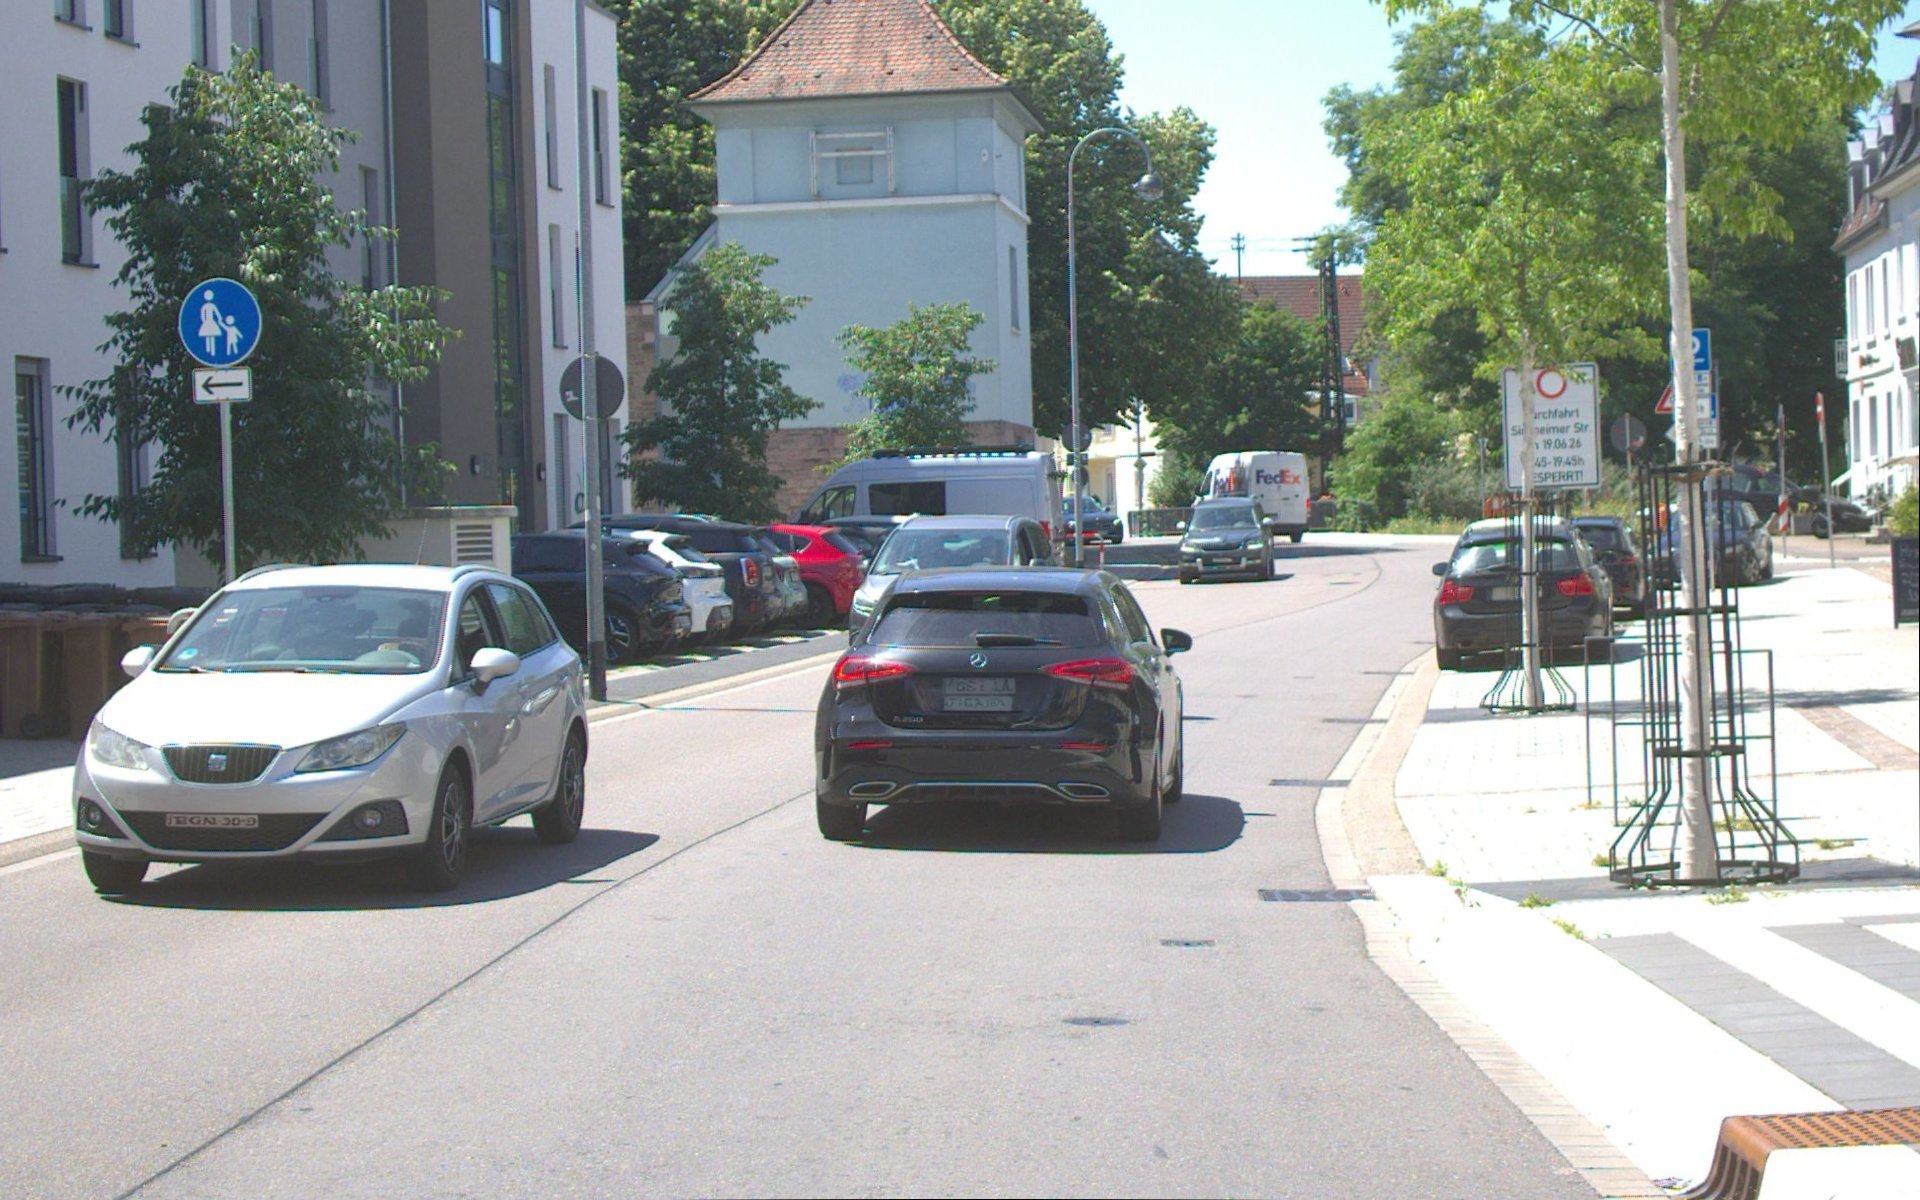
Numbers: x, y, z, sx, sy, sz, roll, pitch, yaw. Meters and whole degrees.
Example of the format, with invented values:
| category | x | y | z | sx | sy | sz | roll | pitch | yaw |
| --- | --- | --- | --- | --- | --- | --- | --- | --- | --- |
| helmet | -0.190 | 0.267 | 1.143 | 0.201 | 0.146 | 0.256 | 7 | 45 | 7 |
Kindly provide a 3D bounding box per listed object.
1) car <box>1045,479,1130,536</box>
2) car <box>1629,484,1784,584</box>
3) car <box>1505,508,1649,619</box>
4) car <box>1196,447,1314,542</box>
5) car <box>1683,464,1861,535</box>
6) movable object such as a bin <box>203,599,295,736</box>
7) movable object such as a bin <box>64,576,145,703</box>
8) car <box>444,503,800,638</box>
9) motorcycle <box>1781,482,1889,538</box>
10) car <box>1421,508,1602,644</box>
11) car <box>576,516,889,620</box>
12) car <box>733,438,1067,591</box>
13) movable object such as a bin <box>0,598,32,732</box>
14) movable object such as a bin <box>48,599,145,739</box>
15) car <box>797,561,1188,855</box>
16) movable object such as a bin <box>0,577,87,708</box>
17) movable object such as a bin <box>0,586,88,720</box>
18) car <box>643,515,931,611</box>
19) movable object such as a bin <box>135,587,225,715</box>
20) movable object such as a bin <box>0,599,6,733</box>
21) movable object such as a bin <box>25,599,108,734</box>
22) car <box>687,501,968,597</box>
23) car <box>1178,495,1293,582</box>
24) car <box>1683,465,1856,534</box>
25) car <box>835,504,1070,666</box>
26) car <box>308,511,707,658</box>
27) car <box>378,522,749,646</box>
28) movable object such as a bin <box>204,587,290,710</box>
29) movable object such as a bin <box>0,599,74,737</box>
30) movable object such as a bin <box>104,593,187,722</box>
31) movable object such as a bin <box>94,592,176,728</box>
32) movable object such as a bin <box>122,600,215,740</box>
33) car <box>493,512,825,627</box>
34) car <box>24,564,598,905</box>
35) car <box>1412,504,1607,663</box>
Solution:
| category | x | y | z | sx | sy | sz | roll | pitch | yaw |
| --- | --- | --- | --- | --- | --- | --- | --- | --- | --- |
| car | 3.859 | -2.830 | 104.721 | 1.893 | 1.548 | 4.800 | -2 | 3 | -6 |
| car | 12.886 | -1.158 | 59.171 | 1.874 | 1.486 | 3.858 | -2 | 3 | 23 |
| car | 8.765 | -0.548 | 48.570 | 1.725 | 1.400 | 4.606 | -2 | 1 | 13 |
| car | 8.467 | -3.015 | 99.095 | 2.127 | 2.620 | 5.279 | -1 | 1 | -9 |
| car | 19.948 | -2.462 | 84.595 | 4.076 | 1.710 | 1.856 | 0 | 1 | 8 |
| movable object such as a bin | -5.336 | 0.499 | 25.829 | 0.483 | 0.994 | 0.588 | -1 | 1 | 8 |
| movable object such as a bin | -7.182 | 0.324 | 28.874 | 0.575 | 1.035 | 0.550 | -1 | 1 | -8 |
| car | -4.215 | -0.391 | 43.169 | 4.034 | 1.645 | 1.999 | 0 | 1 | 11 |
| motorcycle | 20.548 | -2.106 | 80.757 | 2.377 | 1.271 | 0.856 | -1 | 2 | 9 |
| car | 6.815 | -0.330 | 42.205 | 1.738 | 1.481 | 4.052 | -4 | 1 | 15 |
| car | -3.185 | -0.468 | 48.538 | 4.034 | 1.425 | 1.999 | 0 | 1 | 11 |
| car | -1.069 | -1.562 | 62.844 | 5.770 | 2.723 | 2.291 | 0 | 1 | 10 |
| movable object such as a bin | -7.343 | 0.491 | 26.040 | 0.403 | 0.994 | 0.556 | -1 | 1 | 8 |
| movable object such as a bin | -6.357 | 0.503 | 25.320 | 0.483 | 0.994 | 0.588 | -1 | 1 | 8 |
| car | 0.287 | 0.511 | 19.060 | 1.828 | 1.437 | 3.999 | 1 | 1 | 5 |
| movable object such as a bin | -7.549 | 0.342 | 28.178 | 0.675 | 1.035 | 0.605 | -1 | 1 | -8 |
| movable object such as a bin | -7.330 | 0.419 | 27.454 | 0.619 | 1.035 | 0.583 | -1 | 1 | -8 |
| car | -2.625 | -0.577 | 52.798 | 4.200 | 1.432 | 1.886 | 0 | 1 | 5 |
| movable object such as a bin | -6.371 | 0.415 | 28.101 | 0.554 | 1.016 | 0.560 | -1 | 1 | 5 |
| movable object such as a bin | -7.408 | 0.498 | 25.455 | 0.483 | 0.994 | 0.526 | -1 | 1 | 5 |
| movable object such as a bin | -6.757 | 0.499 | 26.008 | 0.403 | 0.994 | 0.556 | -1 | 1 | 8 |
| car | -2.214 | -0.881 | 58.203 | 4.455 | 1.585 | 1.999 | 0 | 1 | 9 |
| car | 5.600 | -1.251 | 69.533 | 1.811 | 1.695 | 4.074 | 0 | 1 | 12 |
| car | 20.423 | -2.539 | 86.888 | 4.076 | 1.710 | 1.856 | 0 | 1 | 8 |
| car | -0.013 | -0.195 | 37.426 | 1.943 | 1.653 | 4.234 | 0 | 1 | 9 |
| car | -5.002 | -0.193 | 38.307 | 3.988 | 1.510 | 2.000 | 0 | 3 | 9 |
| car | -4.657 | -0.215 | 40.692 | 3.988 | 1.416 | 1.909 | 0 | 1 | 10 |
| movable object such as a bin | -5.933 | 0.400 | 28.608 | 0.554 | 0.994 | 0.427 | -1 | 1 | 11 |
| movable object such as a bin | -6.884 | 0.498 | 25.462 | 0.424 | 0.994 | 0.523 | -1 | 1 | 9 |
| movable object such as a bin | -6.477 | 0.453 | 27.351 | 0.554 | 0.994 | 0.404 | -2 | 1 | -4 |
| movable object such as a bin | -6.202 | 0.444 | 25.850 | 0.403 | 0.994 | 0.556 | -1 | 1 | 8 |
| movable object such as a bin | -5.812 | 0.506 | 25.255 | 0.483 | 0.994 | 0.588 | -1 | 1 | 5 |
| car | -3.997 | -0.428 | 45.982 | 4.034 | 1.491 | 1.999 | 0 | 1 | 11 |
| car | -2.942 | 0.551 | 16.401 | 1.667 | 1.391 | 3.847 | 0 | 1 | 6 |
| car | 5.829 | -0.192 | 36.252 | 1.833 | 1.477 | 4.094 | -3 | 0 | 10 |
